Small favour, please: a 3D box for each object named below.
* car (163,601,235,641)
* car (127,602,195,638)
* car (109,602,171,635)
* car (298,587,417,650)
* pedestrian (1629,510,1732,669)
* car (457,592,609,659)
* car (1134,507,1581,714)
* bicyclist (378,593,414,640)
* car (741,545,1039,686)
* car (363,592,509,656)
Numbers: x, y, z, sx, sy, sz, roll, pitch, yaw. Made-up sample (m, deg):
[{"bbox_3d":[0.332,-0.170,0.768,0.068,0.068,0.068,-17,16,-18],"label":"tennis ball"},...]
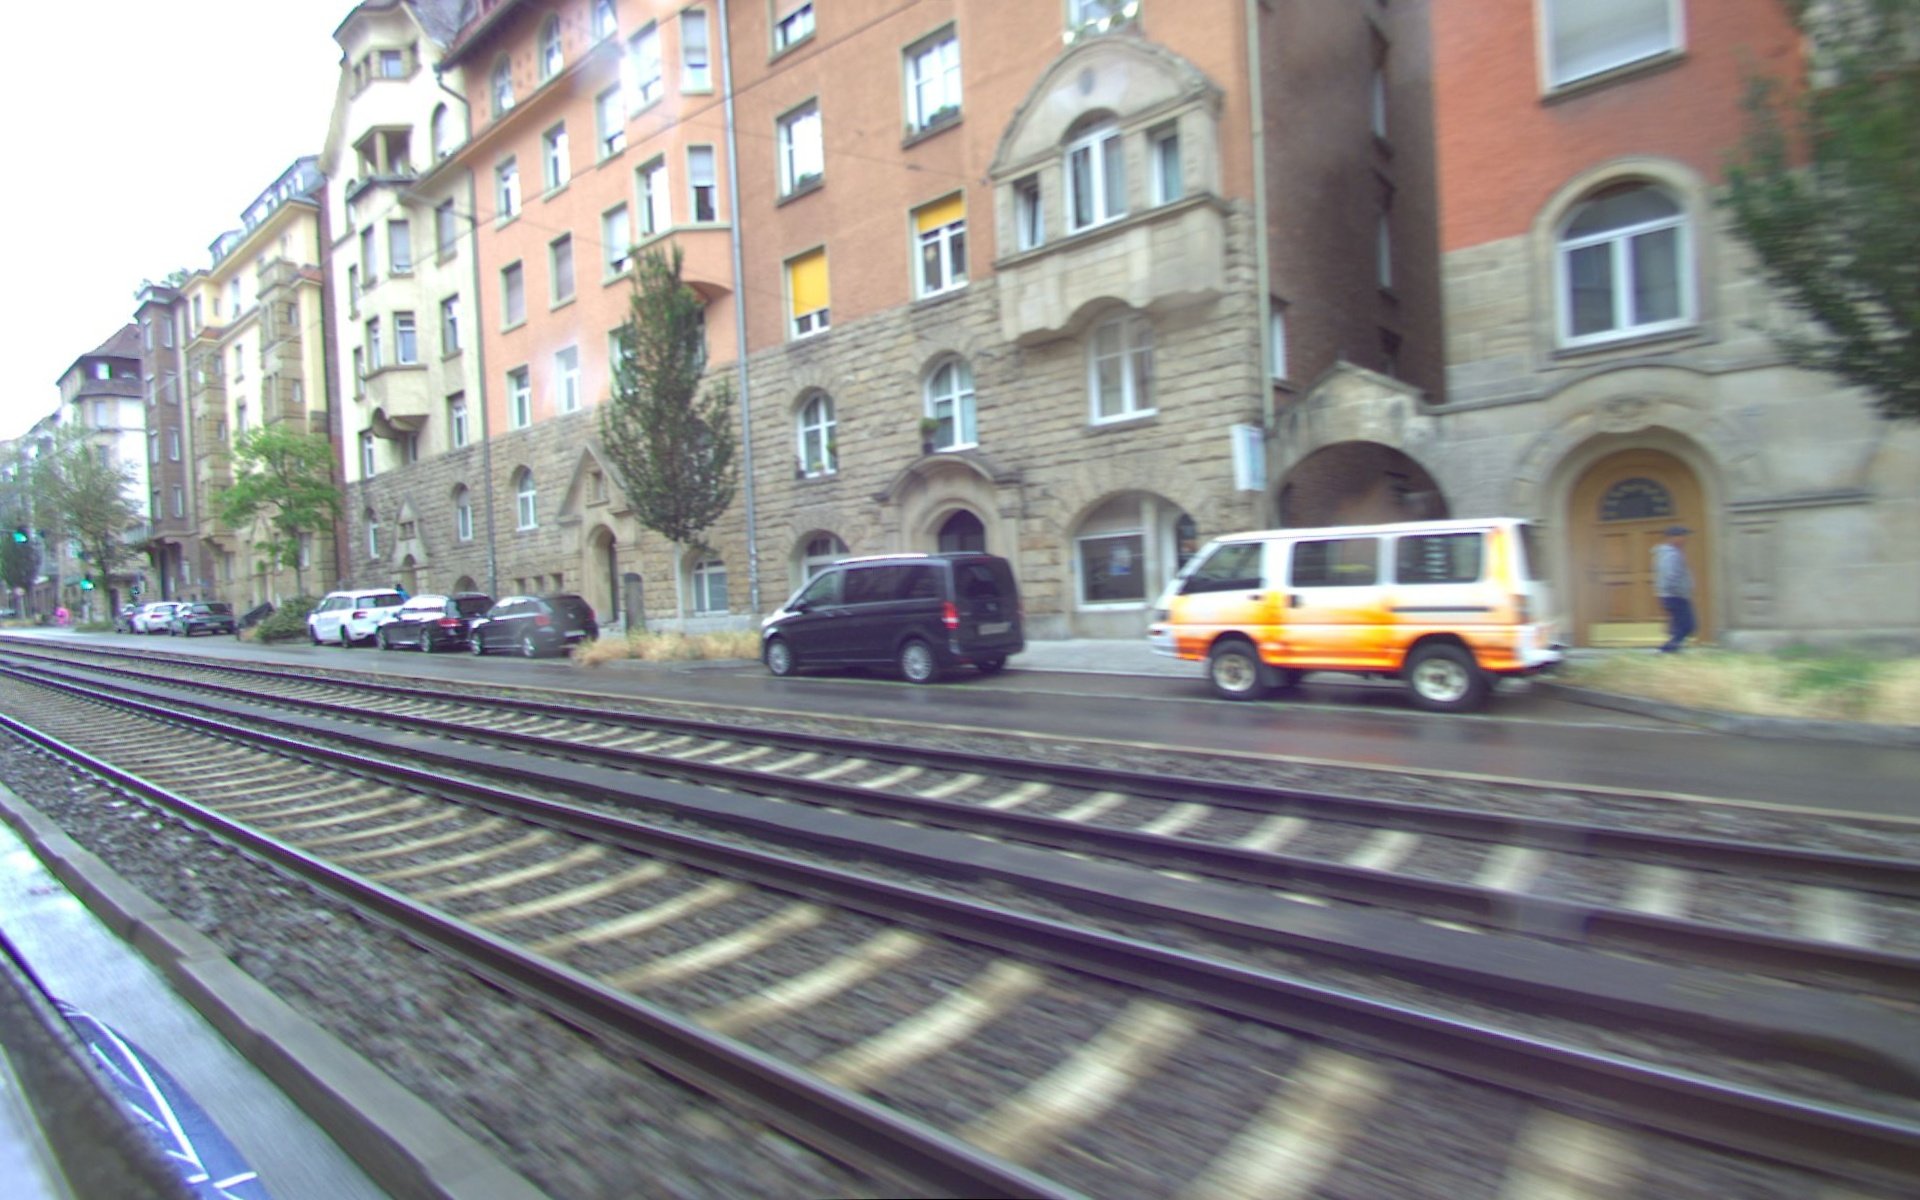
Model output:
[{"bbox_3d":[-32.546,0.854,43.235,3.711,1.493,1.695,0,4,42],"label":"car"},{"bbox_3d":[-37.206,0.888,47.104,4.042,1.462,1.737,0,4,42],"label":"car"},{"bbox_3d":[-40.723,0.875,50.246,3.711,1.437,1.737,0,4,42],"label":"car"},{"bbox_3d":[-18.490,0.540,30.980,4.256,1.684,1.738,0,4,40],"label":"car"},{"bbox_3d":[8.405,-0.133,11.802,0.892,1.731,0.710,0,6,41],"label":"pedestrian"},{"bbox_3d":[-10.293,0.573,24.314,3.690,1.414,1.739,0,3,38],"label":"car"},{"bbox_3d":[4.396,0.093,11.612,4.472,1.945,1.711,0,1,39],"label":"car"},{"bbox_3d":[-20.101,0.579,36.090,0.774,1.613,0.883,0,1,40],"label":"bicyclist"},{"bbox_3d":[-1.250,0.208,16.304,4.829,1.945,1.887,0,1,40],"label":"car"},{"bbox_3d":[-14.186,0.594,27.300,4.593,1.502,1.738,0,3,39],"label":"car"}]
